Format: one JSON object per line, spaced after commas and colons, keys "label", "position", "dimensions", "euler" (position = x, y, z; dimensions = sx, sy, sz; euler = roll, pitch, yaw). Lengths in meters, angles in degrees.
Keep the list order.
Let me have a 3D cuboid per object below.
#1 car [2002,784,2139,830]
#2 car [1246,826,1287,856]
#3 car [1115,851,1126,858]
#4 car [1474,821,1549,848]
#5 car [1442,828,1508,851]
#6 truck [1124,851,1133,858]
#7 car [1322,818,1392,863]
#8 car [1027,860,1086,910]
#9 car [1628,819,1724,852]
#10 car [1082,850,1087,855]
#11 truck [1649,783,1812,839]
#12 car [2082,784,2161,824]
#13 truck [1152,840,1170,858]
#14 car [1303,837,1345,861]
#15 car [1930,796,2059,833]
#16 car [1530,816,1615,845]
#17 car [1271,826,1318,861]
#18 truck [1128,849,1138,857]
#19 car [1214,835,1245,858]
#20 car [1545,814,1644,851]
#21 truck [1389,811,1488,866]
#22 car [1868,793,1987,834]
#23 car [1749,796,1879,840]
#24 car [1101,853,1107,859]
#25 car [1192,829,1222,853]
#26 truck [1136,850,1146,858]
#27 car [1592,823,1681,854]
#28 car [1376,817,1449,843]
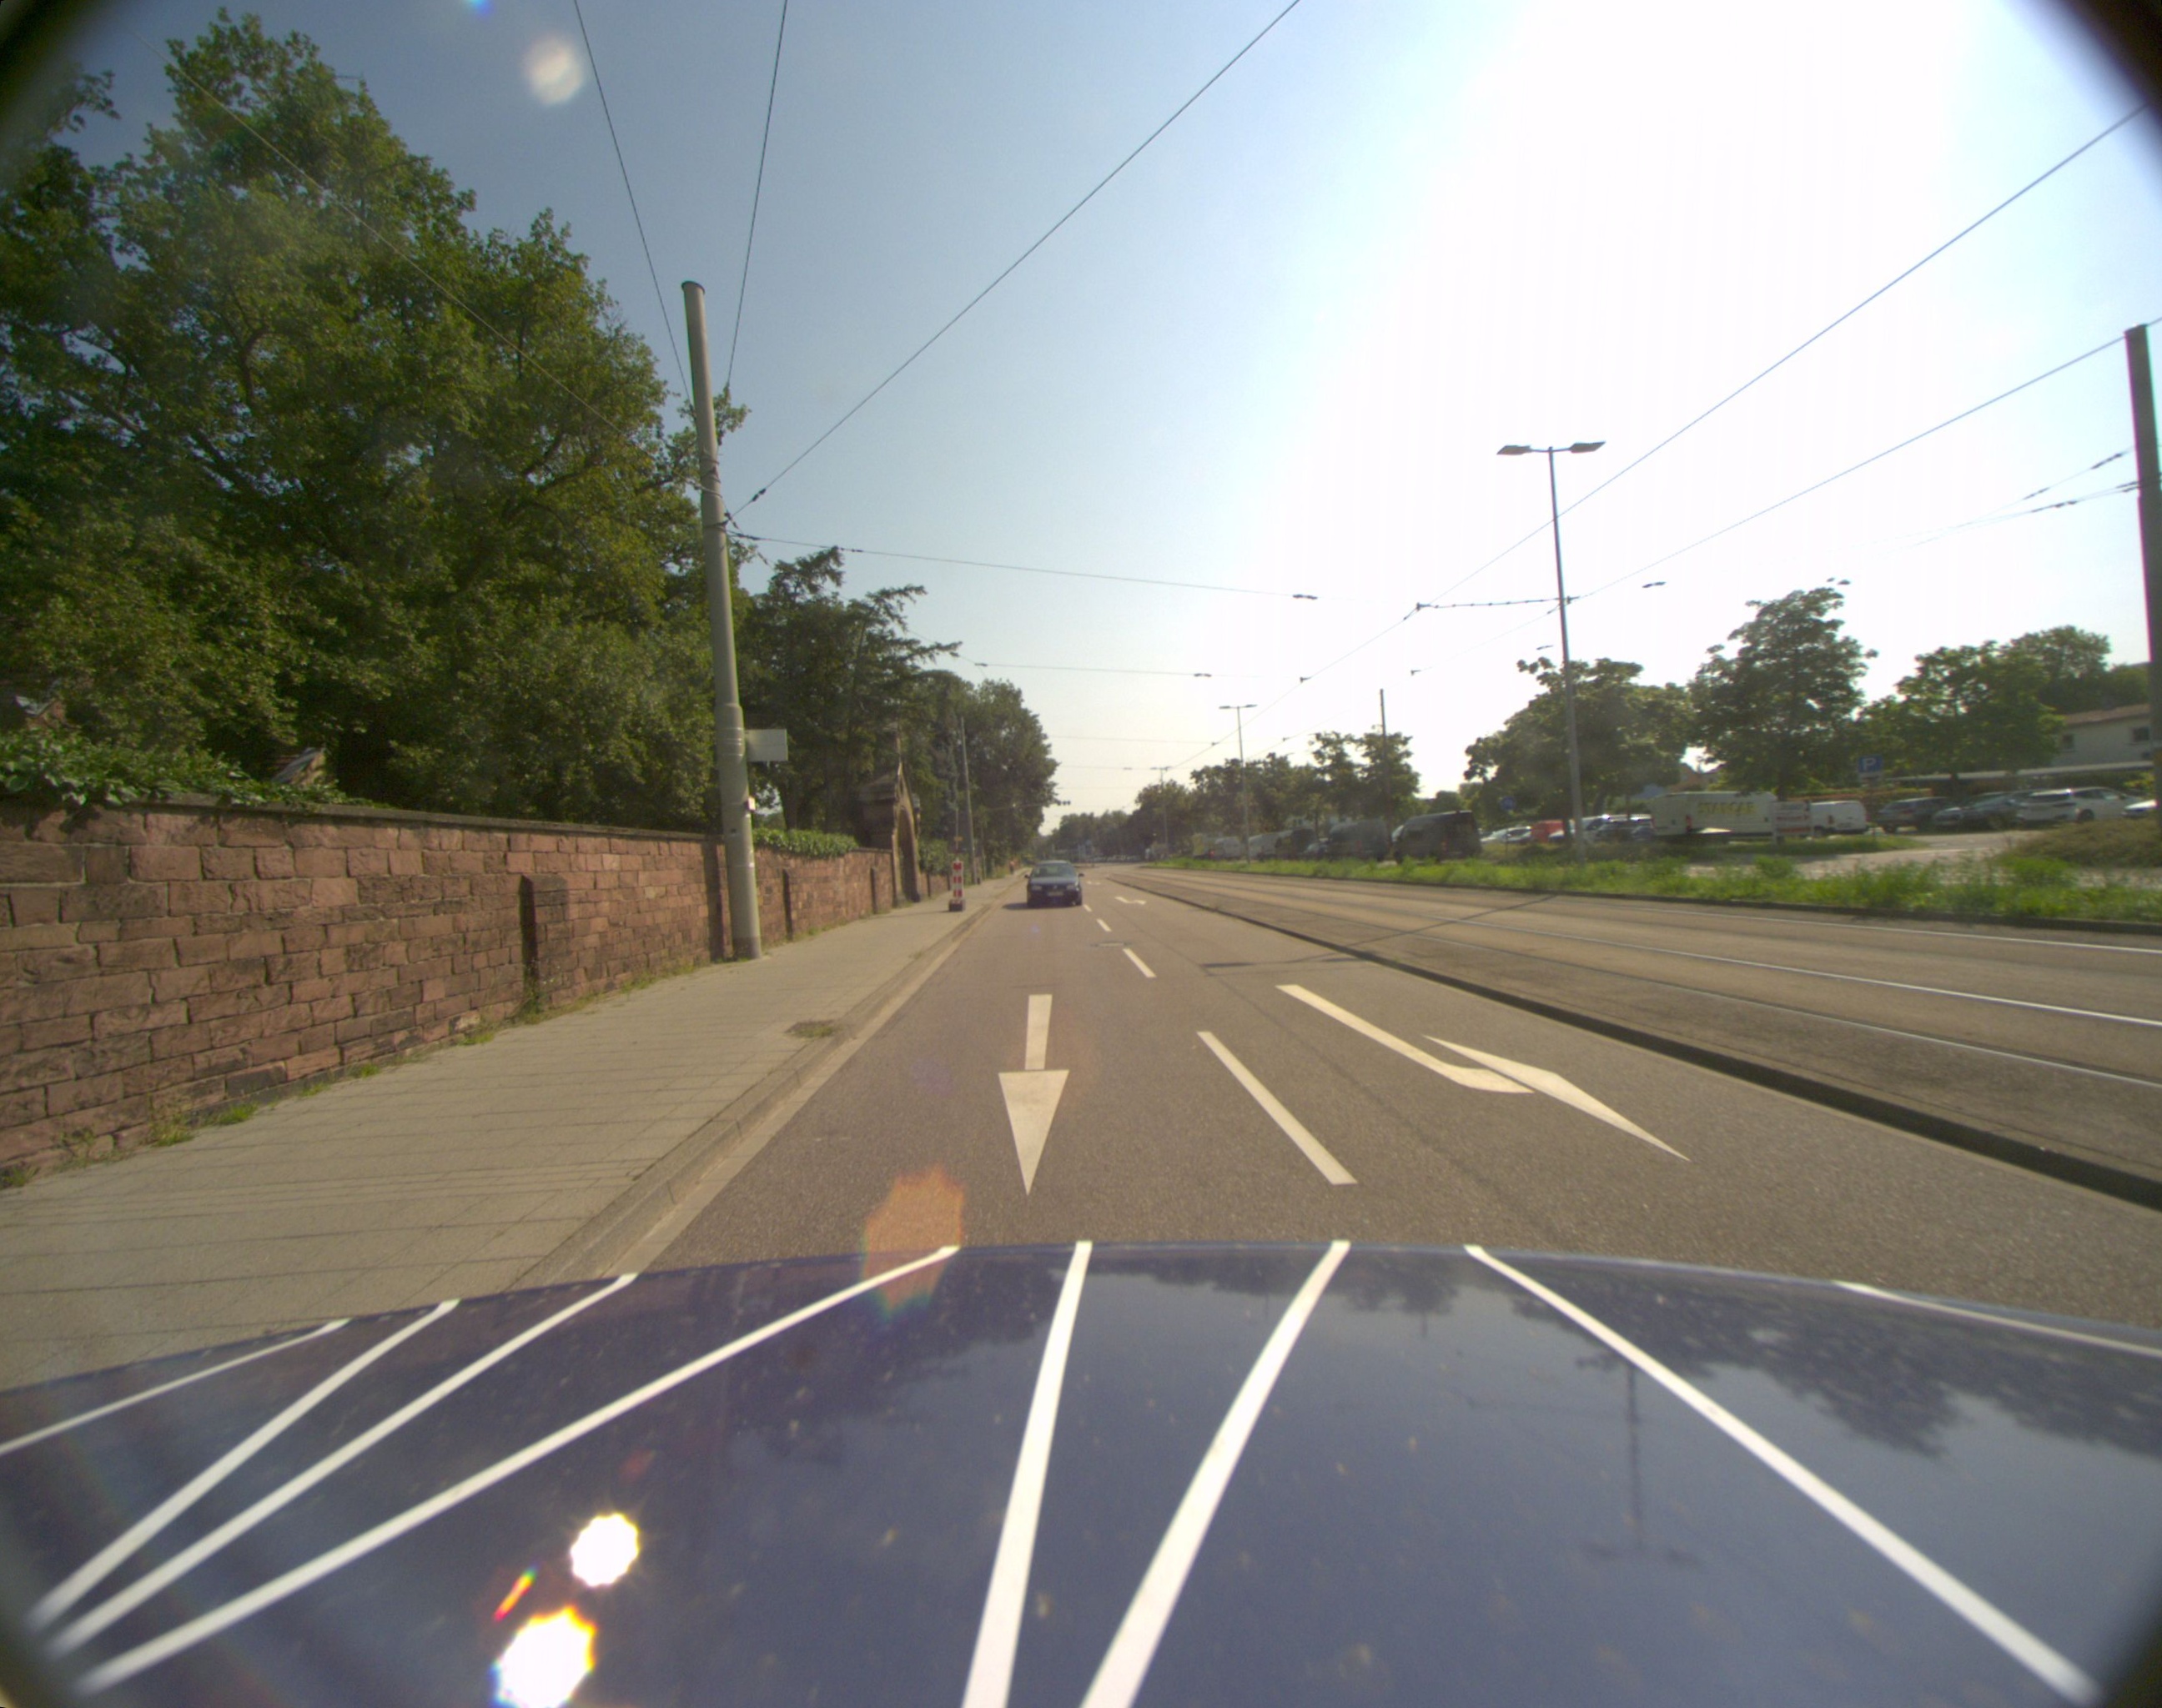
{"label": "car", "position": [41.435, -1.940, 31.872], "dimensions": [3.456, 1.493, 1.876], "euler": [-6, 1, -5]}
{"label": "car", "position": [16.860, -1.133, 69.282], "dimensions": [2.138, 2.571, 5.629], "euler": [-2, 0, -2]}
{"label": "car", "position": [8.400, 0.114, 161.420], "dimensions": [1.930, 1.511, 3.948], "euler": [-2, 0, 0]}
{"label": "car", "position": [28.164, -1.270, 49.714], "dimensions": [4.171, 1.455, 1.623], "euler": [-3, 0, -12]}
{"label": "car", "position": [28.489, -1.057, 54.981], "dimensions": [3.934, 1.441, 1.633], "euler": [-2, 1, -4]}
{"label": "truck", "position": [11.512, 0.131, 183.209], "dimensions": [1.691, 1.665, 3.654], "euler": [-2, 0, -2]}
{"label": "car", "position": [17.658, -0.847, 48.959], "dimensions": [1.993, 2.571, 6.466], "euler": [-5, 1, 0]}
{"label": "car", "position": [-0.790, 0.966, 25.151], "dimensions": [1.776, 1.416, 3.934], "euler": [-2, 0, -1]}
{"label": "car", "position": [28.630, -0.886, 36.605], "dimensions": [3.414, 1.418, 1.633], "euler": [-2, 1, -4]}
{"label": "car", "position": [1.127, -0.507, 257.404], "dimensions": [1.551, 1.575, 3.454], "euler": [-2, 0, -3]}
{"label": "truck", "position": [29.008, -1.883, 34.057], "dimensions": [5.505, 2.160, 2.259], "euler": [-2, 1, -4]}
{"label": "car", "position": [41.231, -1.986, 29.166], "dimensions": [3.540, 1.335, 1.491], "euler": [-4, 0, 2]}
{"label": "truck", "position": [14.326, -0.862, 136.572], "dimensions": [2.279, 3.103, 8.786], "euler": [-2, 0, 0]}
{"label": "car", "position": [17.550, -0.329, 55.100], "dimensions": [1.749, 1.543, 3.833], "euler": [-5, 0, 0]}
{"label": "car", "position": [41.009, -1.772, 34.169], "dimensions": [3.714, 1.335, 1.491], "euler": [-4, 0, 5]}
{"label": "car", "position": [28.750, -1.366, 44.516], "dimensions": [3.934, 1.509, 1.633], "euler": [-2, 1, -4]}
{"label": "car", "position": [17.114, -0.783, 61.309], "dimensions": [1.827, 2.571, 5.909], "euler": [-5, 0, -1]}
{"label": "truck", "position": [12.121, -0.202, 177.074], "dimensions": [1.691, 1.665, 3.654], "euler": [-2, 0, -2]}
{"label": "car", "position": [16.304, -0.817, 83.637], "dimensions": [2.149, 2.444, 4.830], "euler": [-2, 0, -4]}
{"label": "car", "position": [28.130, -1.157, 41.683], "dimensions": [4.411, 1.774, 1.633], "euler": [-2, 1, -4]}
{"label": "truck", "position": [18.131, -0.739, 38.933], "dimensions": [2.087, 2.533, 5.737], "euler": [-2, 0, -3]}
{"label": "car", "position": [41.812, -1.970, 37.600], "dimensions": [3.812, 1.758, 1.758], "euler": [-2, 1, 3]}
{"label": "car", "position": [35.585, -1.709, 37.079], "dimensions": [1.988, 1.747, 4.420], "euler": [-4, -1, 1]}
{"label": "car", "position": [6.836, 0.649, 227.284], "dimensions": [1.551, 1.575, 3.454], "euler": [-2, 0, -3]}
{"label": "car", "position": [15.397, -1.590, 93.380], "dimensions": [2.130, 2.789, 7.229], "euler": [-2, 0, -2]}
{"label": "truck", "position": [13.094, -0.004, 166.083], "dimensions": [1.691, 1.665, 3.654], "euler": [-2, 0, -2]}
{"label": "car", "position": [28.562, -0.776, 39.090], "dimensions": [3.414, 1.418, 1.633], "euler": [-2, 1, -4]}
{"label": "car", "position": [27.446, -1.985, 63.002], "dimensions": [5.199, 1.914, 2.052], "euler": [-2, 1, -4]}
